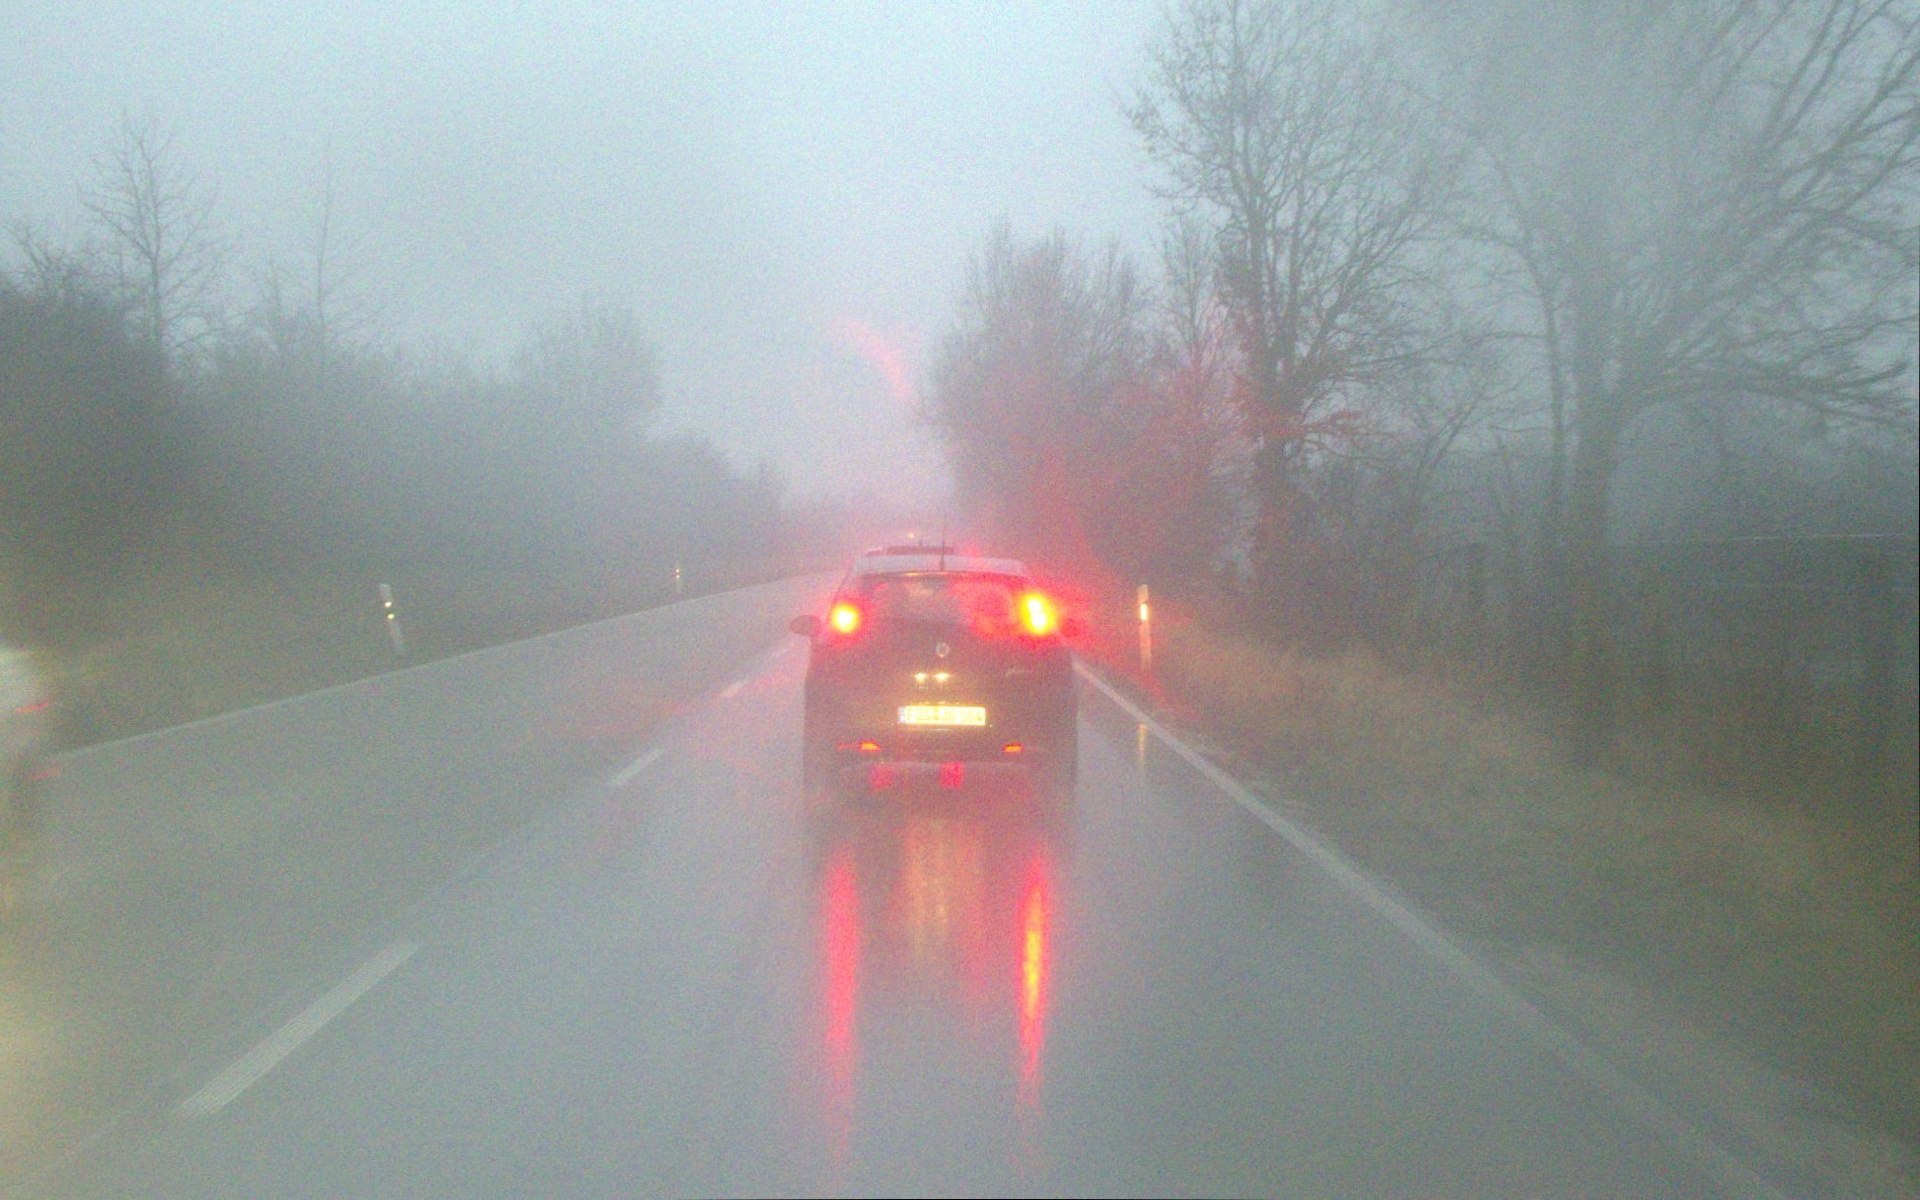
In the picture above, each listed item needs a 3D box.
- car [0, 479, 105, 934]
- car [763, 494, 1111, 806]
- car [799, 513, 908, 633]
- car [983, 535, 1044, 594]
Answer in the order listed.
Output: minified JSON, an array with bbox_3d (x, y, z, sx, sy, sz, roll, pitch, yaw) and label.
[{"bbox_3d":[-4.312,0.377,11.371,1.758,1.635,4.686,2,1,0],"label":"car"},{"bbox_3d":[-0.109,0.257,22.163,1.993,1.778,4.000,1,1,1],"label":"car"},{"bbox_3d":[-1.725,-0.464,56.538,1.574,1.868,3.709,1,1,1],"label":"car"},{"bbox_3d":[1.498,-1.002,95.463,1.564,1.586,3.488,2,1,2],"label":"car"}]
